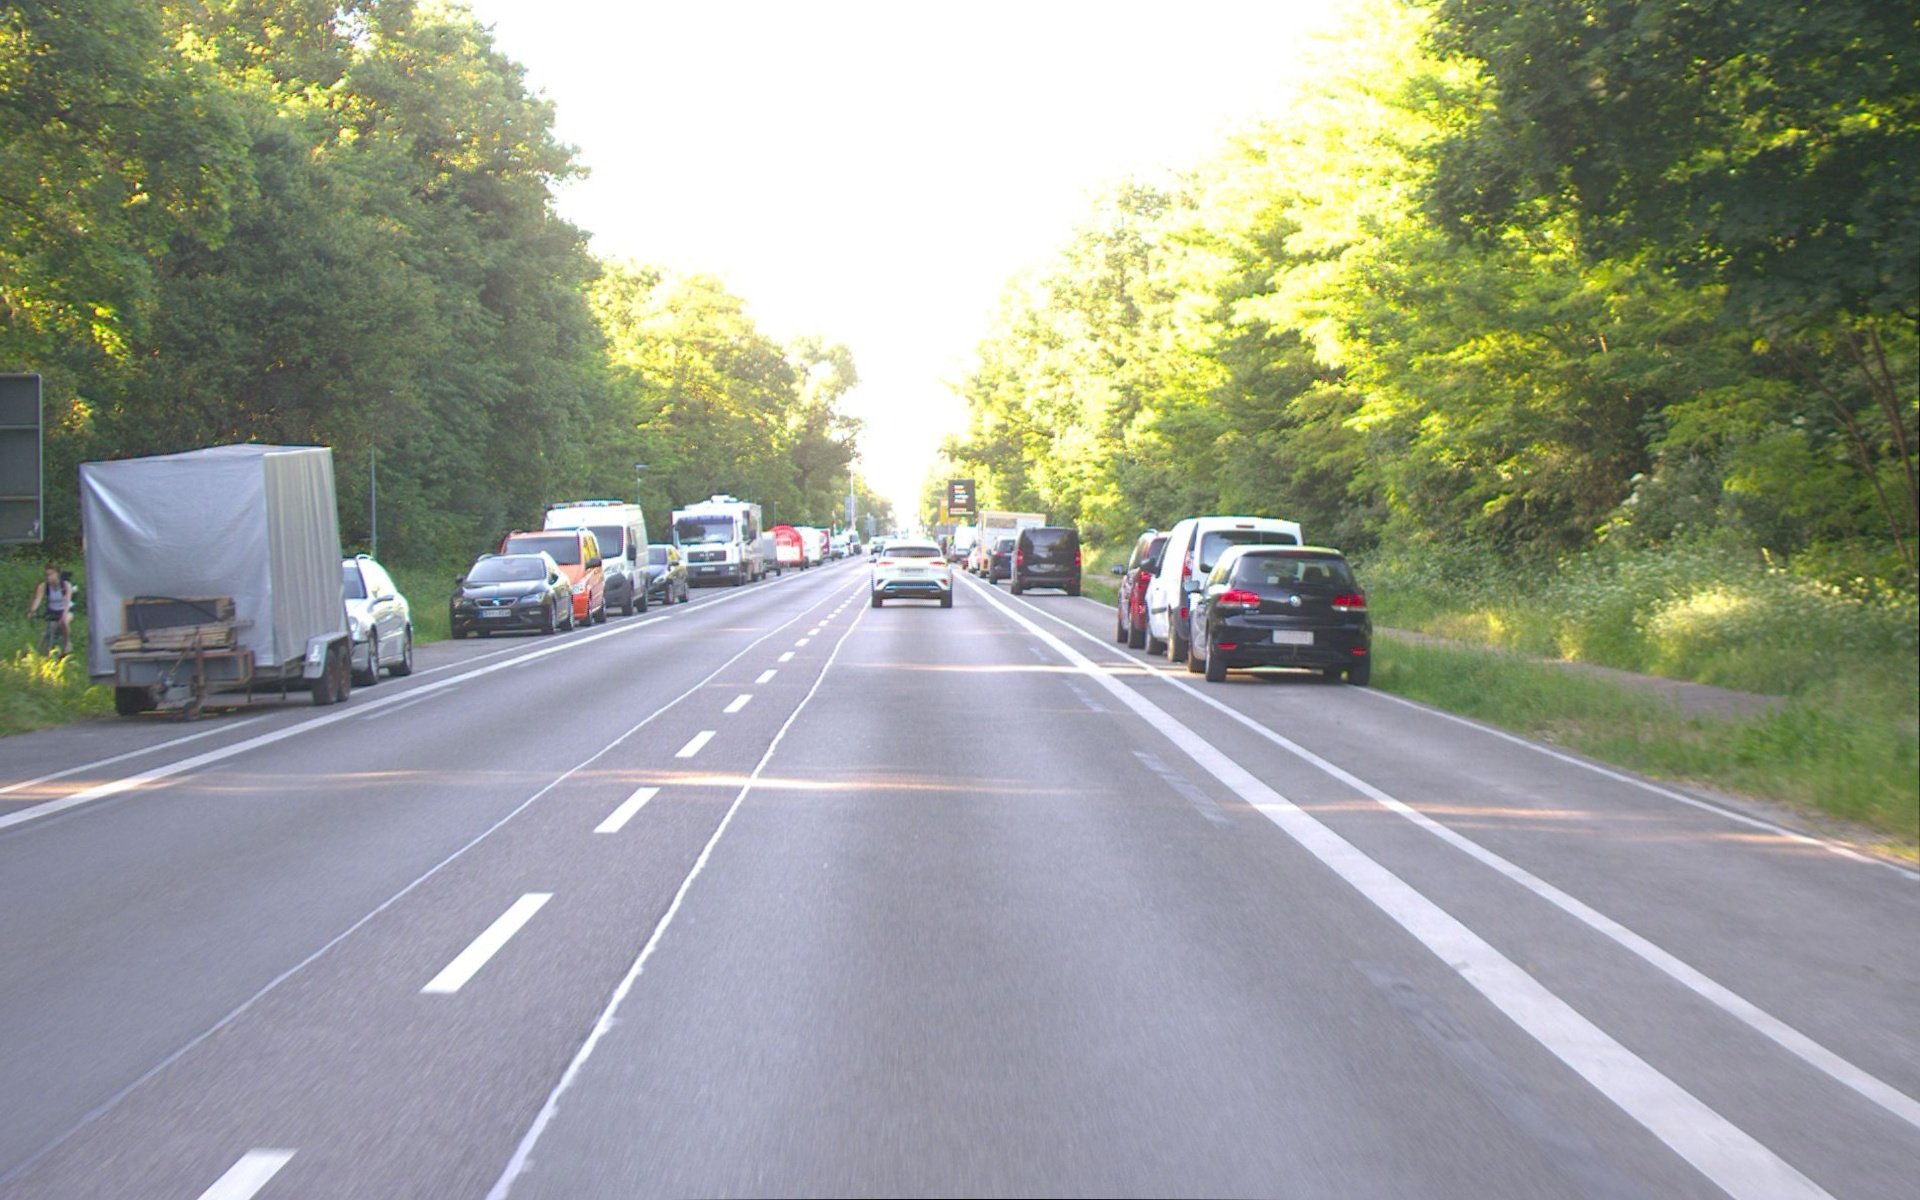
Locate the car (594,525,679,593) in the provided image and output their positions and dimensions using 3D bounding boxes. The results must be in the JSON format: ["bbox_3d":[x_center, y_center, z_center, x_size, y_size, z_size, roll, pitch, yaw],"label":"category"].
[{"bbox_3d":[-8.440,-1.094,89.944,1.781,1.678,4.378,-2,1,0],"label":"car"}]

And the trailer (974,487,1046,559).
[{"bbox_3d":[2.043,-3.182,142.260,2.757,2.860,6.589,-1,1,-1],"label":"trailer"}]

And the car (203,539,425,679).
[{"bbox_3d":[-7.398,0.060,39.767,1.797,1.448,4.626,-2,1,-2],"label":"car"}]

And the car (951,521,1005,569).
[{"bbox_3d":[0.612,-1.928,120.108,1.841,1.656,4.000,0,1,0],"label":"car"}]

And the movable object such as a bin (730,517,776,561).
[{"bbox_3d":[-9.700,-2.848,161.176,1.953,2.007,4.000,-1,1,-1],"label":"movable object such as a bin"}]

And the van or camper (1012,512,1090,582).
[{"bbox_3d":[2.542,-1.519,97.264,1.993,1.925,5.199,1,1,-1],"label":"van or camper"}]

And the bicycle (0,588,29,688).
[{"bbox_3d":[-10.182,0.405,35.225,0.651,1.005,2.396,0,1,-1],"label":"bicycle"}]

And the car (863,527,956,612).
[{"bbox_3d":[-1.134,-0.725,77.994,2.028,1.834,4.029,-1,1,0],"label":"car"}]

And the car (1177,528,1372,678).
[{"bbox_3d":[3.382,-0.012,37.607,1.690,1.519,4.150,1,1,0],"label":"car"}]

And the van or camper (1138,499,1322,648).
[{"bbox_3d":[3.389,-0.371,43.886,1.951,1.809,4.381,0,1,0],"label":"van or camper"}]

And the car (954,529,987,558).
[{"bbox_3d":[0.534,-2.915,178.172,1.656,1.473,3.754,-1,1,-1],"label":"car"}]

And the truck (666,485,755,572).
[{"bbox_3d":[-9.117,-2.631,126.361,2.707,3.083,7.990,0,1,0],"label":"truck"}]

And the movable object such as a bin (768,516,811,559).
[{"bbox_3d":[-9.886,-3.638,199.839,2.322,2.493,4.000,-1,1,-1],"label":"movable object such as a bin"}]

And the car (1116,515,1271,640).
[{"bbox_3d":[3.267,-0.354,48.785,1.834,1.655,4.338,1,1,0],"label":"car"}]

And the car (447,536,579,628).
[{"bbox_3d":[-7.813,-0.349,60.442,1.731,1.473,4.324,-2,1,0],"label":"car"}]

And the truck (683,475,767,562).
[{"bbox_3d":[-9.371,-3.242,137.966,2.707,3.336,10.924,0,1,0],"label":"truck"}]

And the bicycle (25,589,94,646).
[{"bbox_3d":[-11.894,0.231,45.440,0.522,0.710,1.487,0,1,-1],"label":"bicycle"}]

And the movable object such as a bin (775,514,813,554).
[{"bbox_3d":[-10.724,-4.269,222.351,2.322,2.493,4.000,-1,1,-1],"label":"movable object such as a bin"}]

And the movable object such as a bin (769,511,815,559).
[{"bbox_3d":[-9.043,-3.517,185.486,2.322,2.493,4.000,-1,1,-1],"label":"movable object such as a bin"}]

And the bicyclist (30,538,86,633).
[{"bbox_3d":[-11.892,-0.197,45.339,0.487,1.231,0.974,0,1,0],"label":"bicyclist"}]

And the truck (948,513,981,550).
[{"bbox_3d":[0.294,-4.663,233.064,2.096,2.444,5.680,-1,1,-1],"label":"truck"}]

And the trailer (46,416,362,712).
[{"bbox_3d":[-7.225,-0.374,33.320,1.993,2.588,4.416,-3,1,0],"label":"trailer"}]

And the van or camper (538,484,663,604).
[{"bbox_3d":[-8.081,-1.280,77.907,2.121,2.563,6.542,-1,1,0],"label":"van or camper"}]

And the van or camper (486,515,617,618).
[{"bbox_3d":[-7.901,-0.680,66.866,1.923,1.860,4.863,-2,1,0],"label":"van or camper"}]
